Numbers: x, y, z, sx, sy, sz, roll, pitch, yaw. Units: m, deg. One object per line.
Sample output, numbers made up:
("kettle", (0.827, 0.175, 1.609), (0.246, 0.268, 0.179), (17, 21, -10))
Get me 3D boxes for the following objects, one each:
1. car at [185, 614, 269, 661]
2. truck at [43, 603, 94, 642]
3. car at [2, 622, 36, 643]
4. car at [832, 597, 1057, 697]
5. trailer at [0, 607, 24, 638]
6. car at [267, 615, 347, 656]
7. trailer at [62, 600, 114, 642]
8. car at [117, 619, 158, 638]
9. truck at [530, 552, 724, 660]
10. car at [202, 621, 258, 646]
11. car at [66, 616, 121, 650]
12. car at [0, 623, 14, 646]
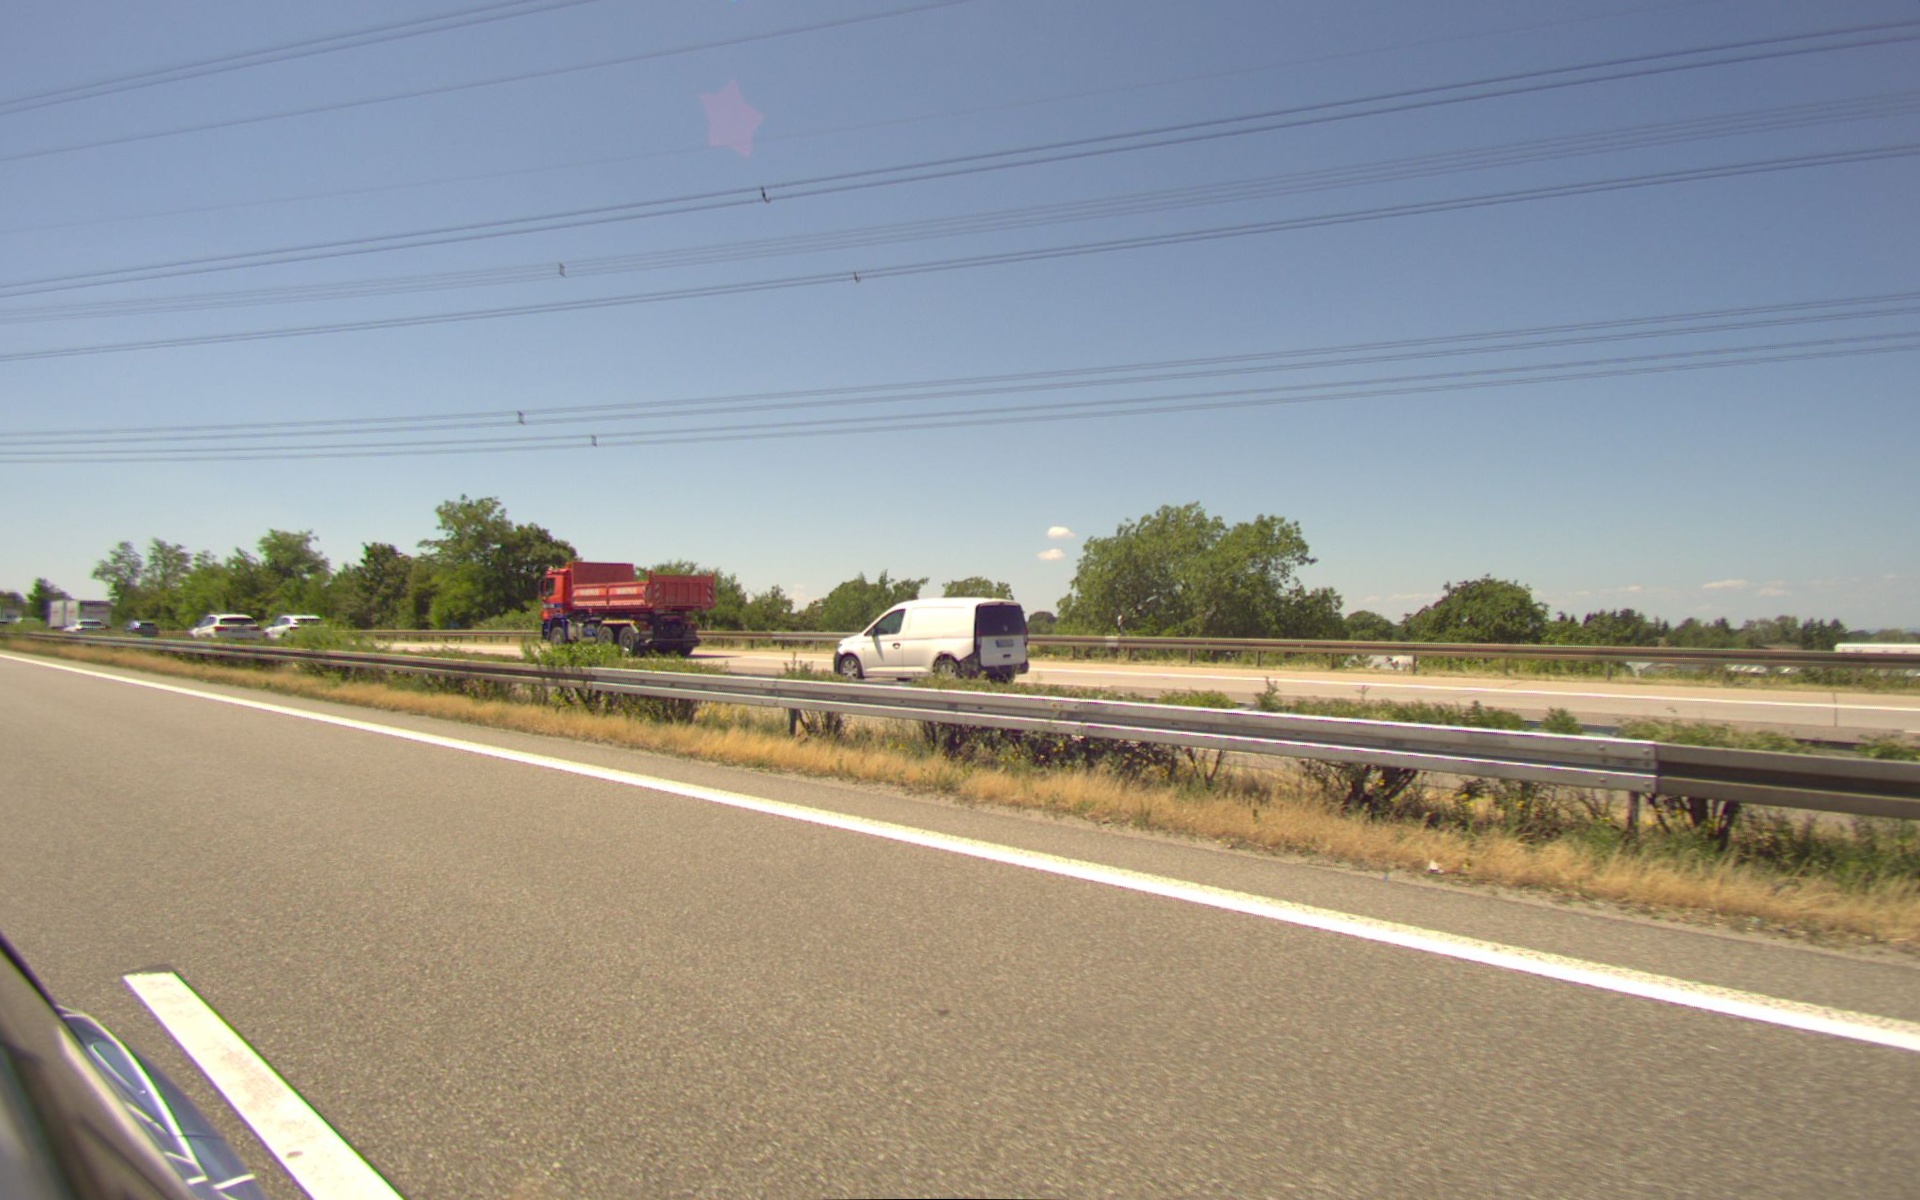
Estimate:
("car", (-31.380, 1.592, 43.279), (4.532, 1.867, 1.973), (-2, -1, 41))
("truck", (-97.351, 2.501, 110.401), (10.585, 3.980, 2.664), (-2, -1, 40))
("car", (-95.212, 3.261, 102.352), (5.698, 2.029, 1.973), (-2, -1, 41))
("car", (-0.385, 0.880, 20.453), (4.366, 1.787, 1.950), (-1, 0, 41))
("trailer", (-138.926, 3.302, 147.271), (14.422, 4.322, 2.398), (-2, -1, 41))
("car", (-30.421, 1.651, 47.090), (4.532, 1.774, 1.973), (-2, -1, 41))
("trailer", (-90.042, 2.185, 104.406), (8.321, 4.196, 2.812), (-2, -1, 40))
("car", (-72.182, 2.536, 88.789), (5.064, 1.597, 1.973), (-2, -1, 41))
("truck", (-12.361, 0.292, 37.030), (8.529, 3.553, 2.741), (-2, -1, 41))
("car", (-52.078, 2.374, 72.181), (5.083, 1.674, 1.974), (-1, -2, 39))
("car", (-55.409, 2.090, 64.690), (4.918, 2.029, 1.973), (-2, -1, 41))
("car", (-86.307, 3.128, 90.551), (4.624, 2.029, 1.973), (-2, -1, 41))
